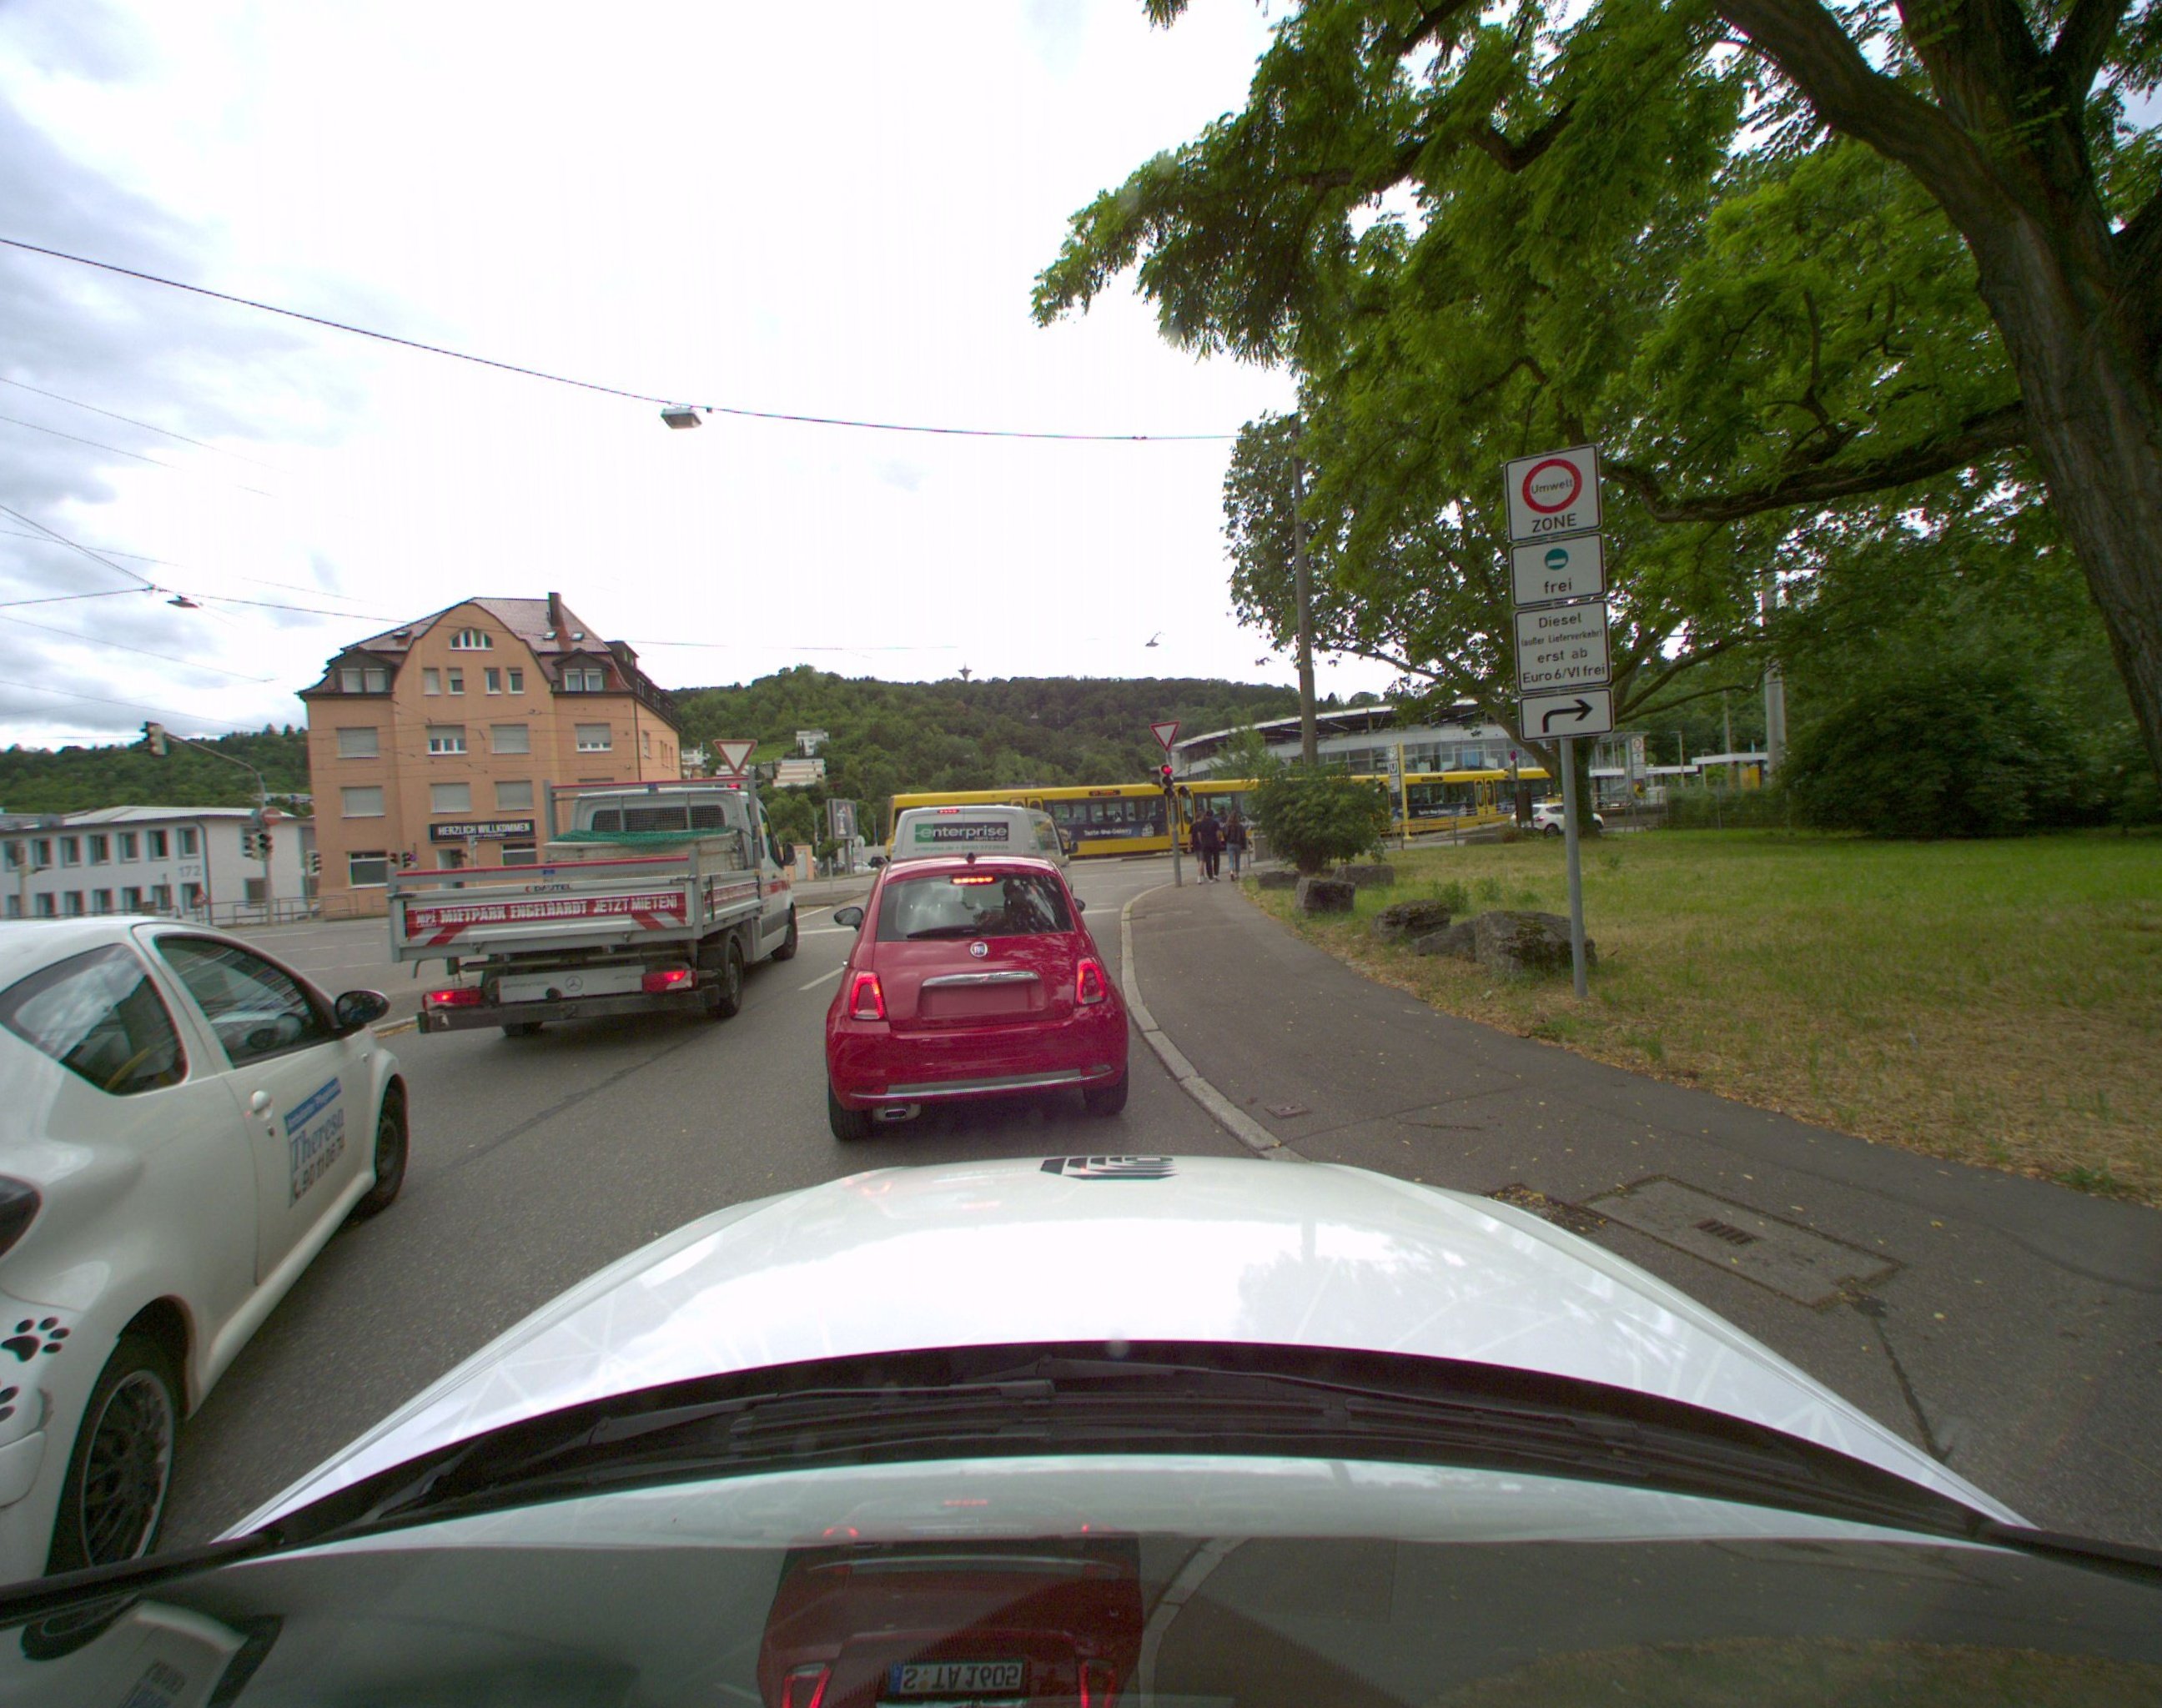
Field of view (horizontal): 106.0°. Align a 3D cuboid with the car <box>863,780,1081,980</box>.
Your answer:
[{"bbox_3d":[-1.231,0.247,11.533,1.981,2.106,4.767,-4,1,4],"label":"car"}]

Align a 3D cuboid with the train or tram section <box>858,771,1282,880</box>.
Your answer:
[{"bbox_3d":[-0.144,-1.464,37.257,19.165,3.665,3.258,-4,1,-18],"label":"train or tram section"}]

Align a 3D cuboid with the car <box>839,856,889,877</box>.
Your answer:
[{"bbox_3d":[-19.593,1.115,73.631,4.209,1.533,1.767,-4,1,-14],"label":"car"}]

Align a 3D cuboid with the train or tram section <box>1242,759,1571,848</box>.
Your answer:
[{"bbox_3d":[17.838,-2.806,43.699,19.184,3.665,3.255,-4,1,-21],"label":"train or tram section"}]

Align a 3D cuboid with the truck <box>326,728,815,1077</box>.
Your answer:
[{"bbox_3d":[-4.692,0.296,9.020,2.423,2.397,6.006,-4,1,-11],"label":"truck"}]

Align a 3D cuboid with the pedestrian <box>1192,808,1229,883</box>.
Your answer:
[{"bbox_3d":[3.078,-0.205,19.312,0.688,1.714,0.791,-4,1,14],"label":"pedestrian"}]

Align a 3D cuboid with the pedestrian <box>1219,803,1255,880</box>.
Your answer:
[{"bbox_3d":[3.668,-0.299,19.110,0.688,1.739,0.791,-4,1,14],"label":"pedestrian"}]

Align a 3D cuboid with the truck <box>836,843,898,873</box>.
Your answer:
[{"bbox_3d":[-20.162,0.391,76.744,5.211,2.393,1.983,-4,1,-26],"label":"truck"}]

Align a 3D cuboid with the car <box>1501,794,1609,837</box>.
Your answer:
[{"bbox_3d":[20.354,-1.653,34.970,4.129,1.584,1.790,-4,1,-21],"label":"car"}]

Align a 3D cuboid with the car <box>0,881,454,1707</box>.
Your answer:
[{"bbox_3d":[-3.298,0.884,2.474,1.649,1.432,3.398,-5,1,-30],"label":"car"}]

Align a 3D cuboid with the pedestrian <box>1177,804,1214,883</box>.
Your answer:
[{"bbox_3d":[2.840,-0.262,20.087,0.688,1.857,0.791,-4,1,14],"label":"pedestrian"}]

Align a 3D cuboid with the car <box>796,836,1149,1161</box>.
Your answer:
[{"bbox_3d":[-0.762,0.669,5.674,1.638,1.456,3.420,-3,1,-9],"label":"car"}]
